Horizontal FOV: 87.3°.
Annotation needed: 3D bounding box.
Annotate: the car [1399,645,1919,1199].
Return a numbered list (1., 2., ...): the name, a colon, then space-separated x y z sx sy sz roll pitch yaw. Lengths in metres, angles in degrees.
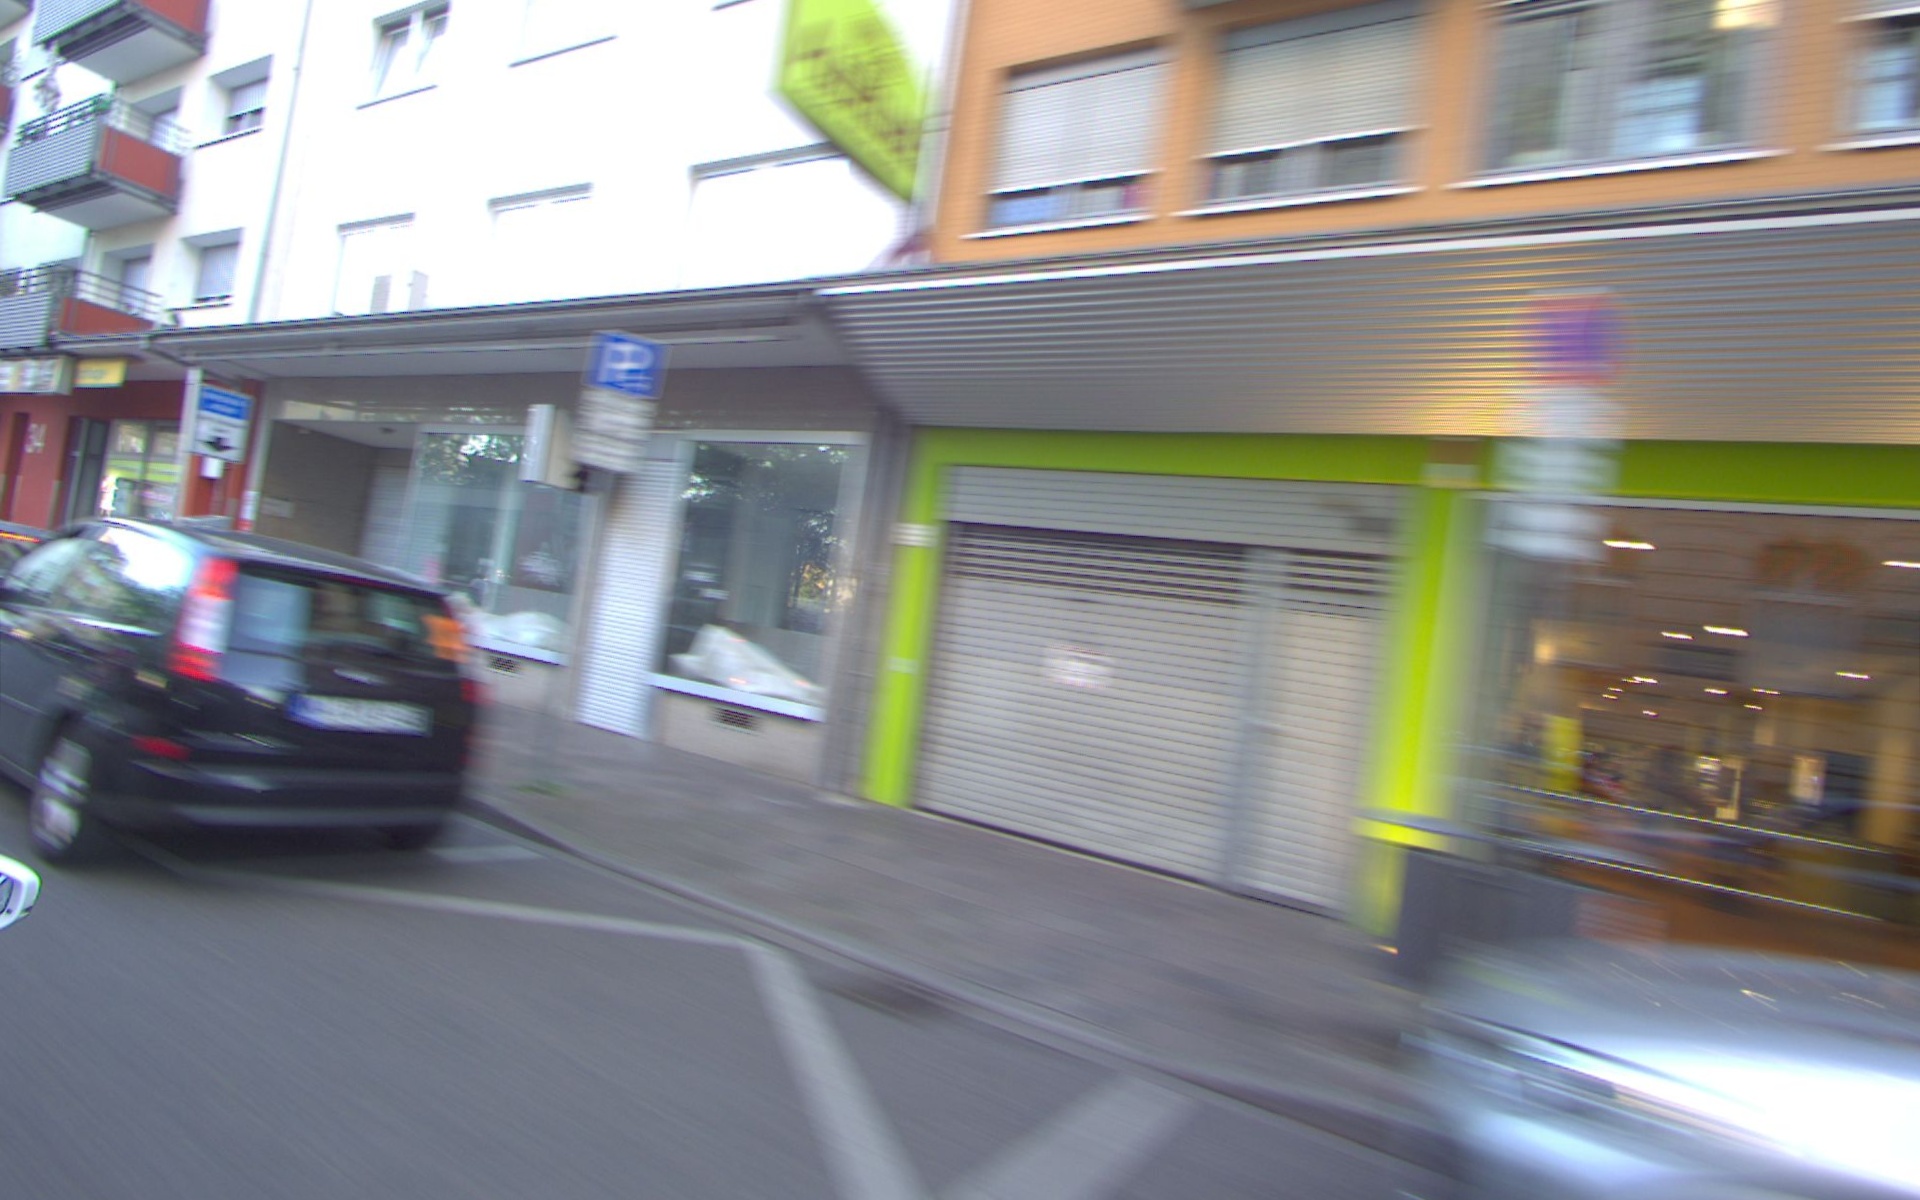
1. car: 3.397 1.327 1.663 4.677 1.684 1.758 7 -5 32

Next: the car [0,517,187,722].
1. car: -9.004 -0.095 8.812 4.602 1.429 1.744 8 -5 30

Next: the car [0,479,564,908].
1. car: -4.558 0.333 5.976 4.416 1.625 1.799 7 -5 36
